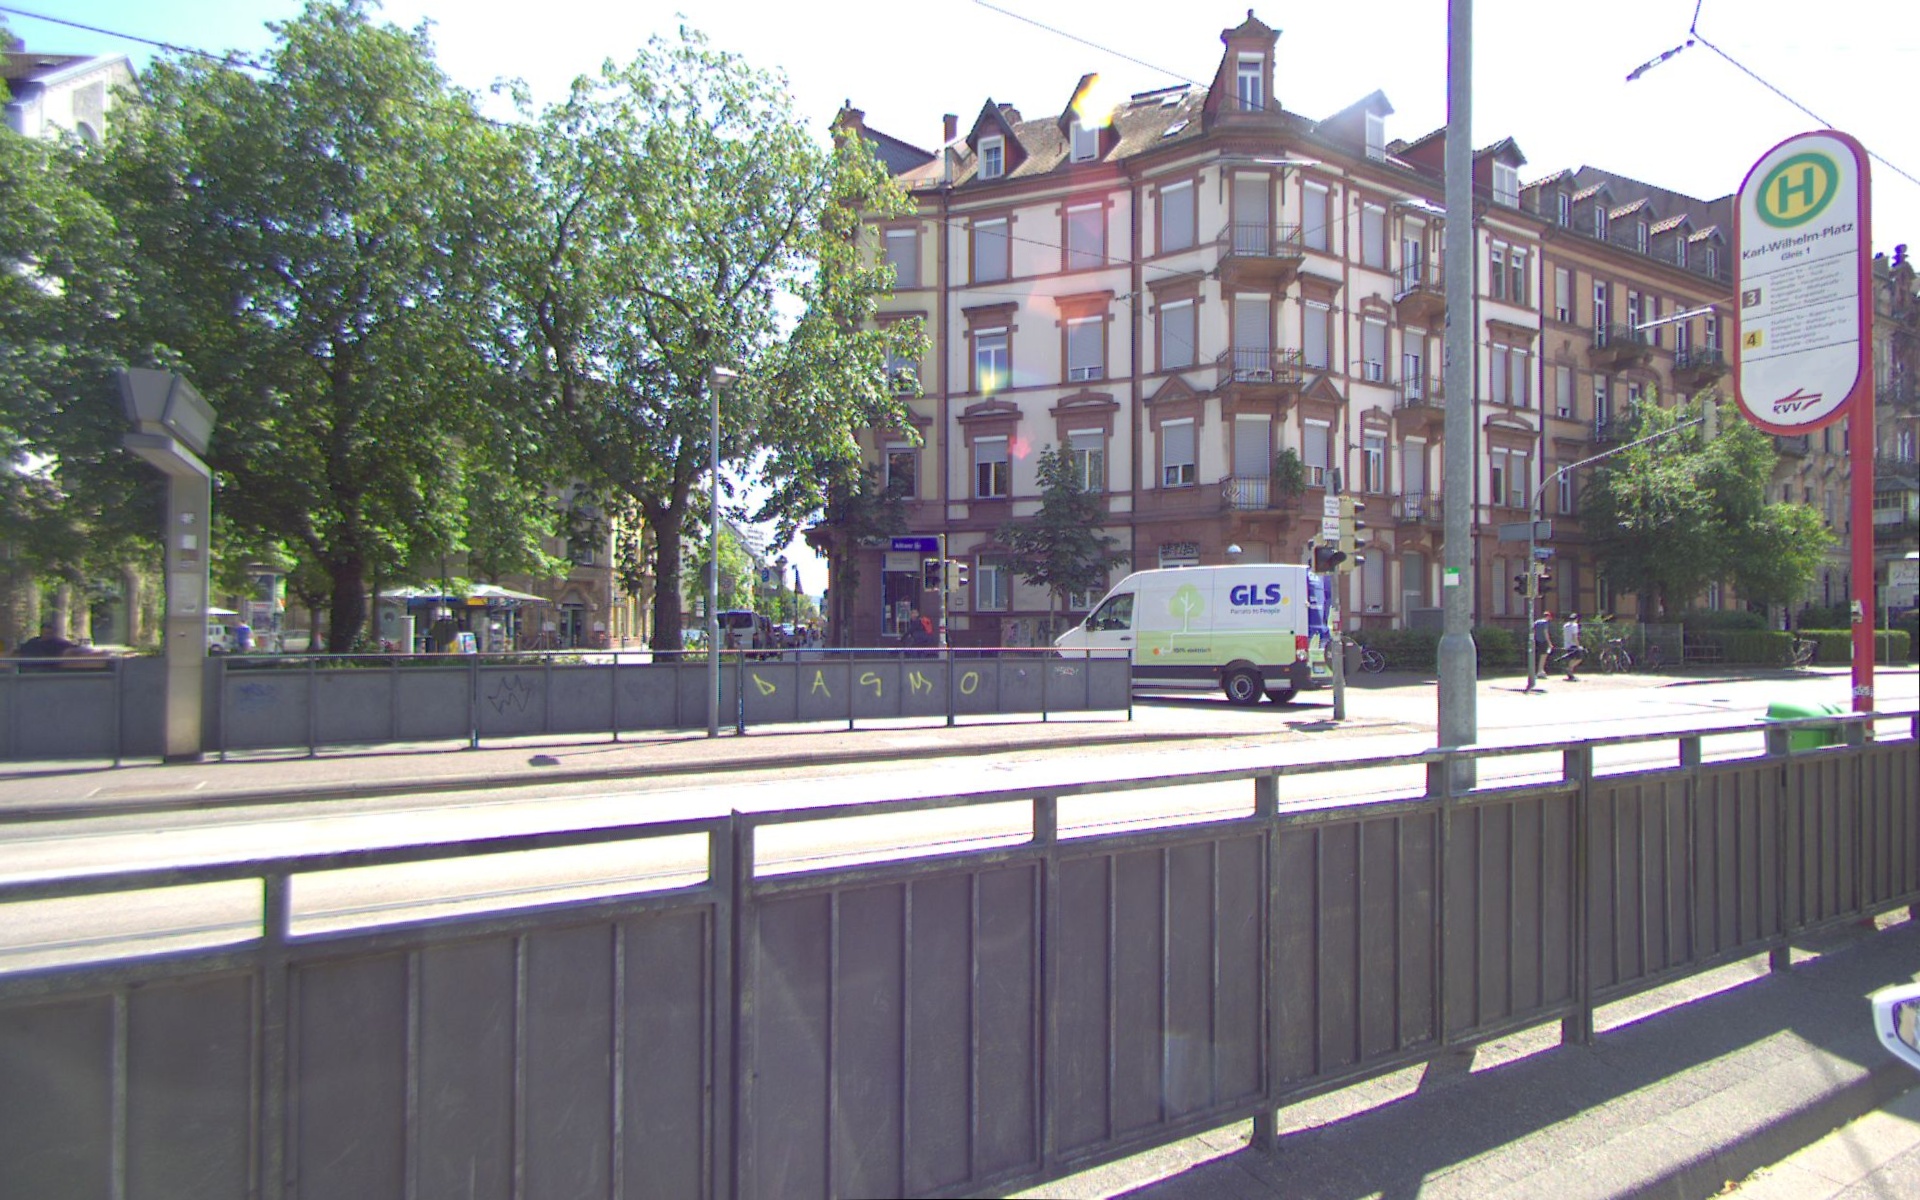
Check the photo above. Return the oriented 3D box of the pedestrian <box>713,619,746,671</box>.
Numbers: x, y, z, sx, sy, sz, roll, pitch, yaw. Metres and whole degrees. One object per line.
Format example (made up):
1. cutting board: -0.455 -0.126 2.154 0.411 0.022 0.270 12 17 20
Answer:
1. pedestrian: -7.698 1.490 33.621 1.043 1.712 0.721 0 -1 -12

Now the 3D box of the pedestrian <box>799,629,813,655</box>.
1. pedestrian: -9.790 2.686 63.951 0.790 1.632 0.731 0 -1 -4

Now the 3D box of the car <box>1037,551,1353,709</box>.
1. car: 4.515 0.614 20.018 5.741 2.708 2.263 -2 -2 40

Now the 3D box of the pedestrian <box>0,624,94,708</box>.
1. pedestrian: -14.658 1.043 16.103 0.925 1.261 0.860 2 0 -24

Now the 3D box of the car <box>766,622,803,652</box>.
1. car: -10.370 2.175 59.452 1.684 1.617 3.998 2 0 -4

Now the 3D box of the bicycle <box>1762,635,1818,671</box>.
1. bicycle: 28.515 1.797 34.498 2.750 1.151 0.930 2 0 -39

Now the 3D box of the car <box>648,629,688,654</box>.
1. car: -20.656 2.915 71.162 1.846 1.617 3.998 2 0 -4

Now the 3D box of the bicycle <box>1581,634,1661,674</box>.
1. bicycle: 20.231 1.641 30.714 2.742 1.151 0.932 2 0 -31

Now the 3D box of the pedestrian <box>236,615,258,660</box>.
1. pedestrian: -27.356 1.432 38.545 0.506 1.692 0.491 0 -1 -8

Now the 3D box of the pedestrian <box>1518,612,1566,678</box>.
1. pedestrian: 16.740 1.279 28.909 0.861 1.847 0.814 0 1 -22

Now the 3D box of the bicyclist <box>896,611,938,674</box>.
1. bicyclist: -1.116 1.077 25.915 0.880 1.582 0.723 1 -1 14

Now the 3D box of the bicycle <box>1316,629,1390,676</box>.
1. bicycle: 11.668 1.554 29.860 1.923 1.312 0.564 2 0 11

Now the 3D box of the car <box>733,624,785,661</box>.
1. car: -9.623 2.009 48.287 1.893 1.541 3.998 2 0 -4

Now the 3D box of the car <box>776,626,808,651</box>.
1. car: -12.480 2.841 74.756 1.962 1.617 3.998 2 0 -4

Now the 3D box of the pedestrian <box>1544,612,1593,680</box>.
1. pedestrian: 17.115 1.283 28.239 0.861 1.847 0.814 0 1 -22

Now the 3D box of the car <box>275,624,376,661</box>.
1. car: -32.073 2.159 50.889 3.920 1.730 1.761 2 0 -14

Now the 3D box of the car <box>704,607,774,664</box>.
1. car: -8.326 1.297 38.215 1.962 1.970 3.998 2 0 -4

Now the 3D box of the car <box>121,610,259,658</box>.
1. car: -31.186 1.367 40.814 3.932 1.814 1.994 2 0 -14

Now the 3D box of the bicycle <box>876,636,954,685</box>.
1. bicycle: -1.167 1.544 25.978 1.888 1.188 0.649 1 -1 15
